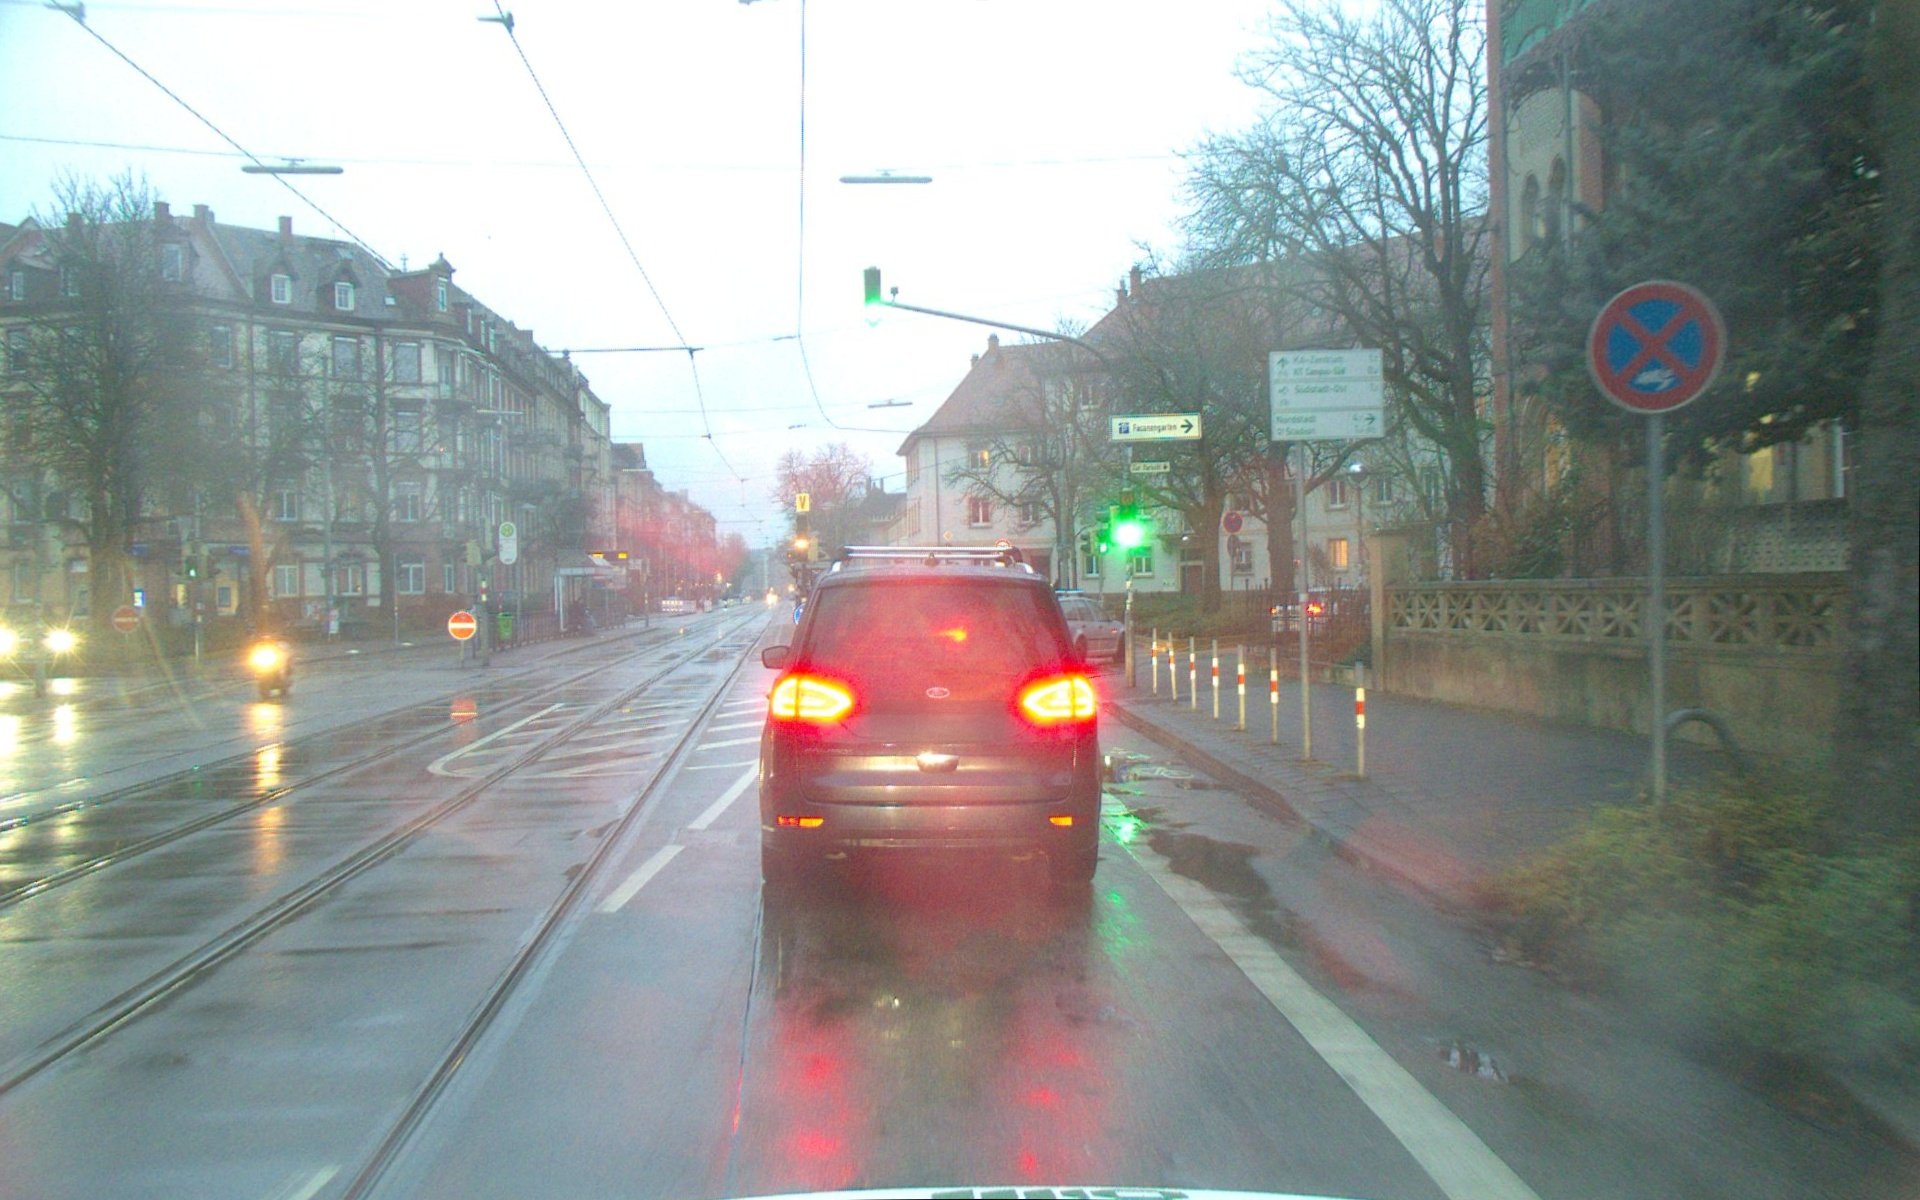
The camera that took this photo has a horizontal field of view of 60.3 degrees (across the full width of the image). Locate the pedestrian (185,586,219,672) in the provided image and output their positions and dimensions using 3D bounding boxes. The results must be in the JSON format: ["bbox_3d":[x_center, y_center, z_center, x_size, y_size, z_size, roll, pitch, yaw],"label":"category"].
[{"bbox_3d":[-18.366,0.695,40.083,0.695,2.049,0.655,-1,0,-25],"label":"pedestrian"}]

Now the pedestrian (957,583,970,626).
[{"bbox_3d":[0.174,0.212,78.450,0.584,2.049,0.631,-1,-1,-1],"label":"pedestrian"}]

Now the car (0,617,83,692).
[{"bbox_3d":[-23.404,1.293,40.410,3.921,1.702,2.014,-1,0,37],"label":"car"}]

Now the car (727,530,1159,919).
[{"bbox_3d":[-0.208,0.591,10.251,2.062,1.848,4.657,1,0,-3],"label":"car"}]

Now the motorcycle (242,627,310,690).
[{"bbox_3d":[-11.947,1.007,28.936,0.842,1.009,1.911,-1,0,-16],"label":"motorcycle"}]

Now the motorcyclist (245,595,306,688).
[{"bbox_3d":[-11.913,0.713,28.804,0.830,1.575,1.011,-1,0,-16],"label":"motorcyclist"}]

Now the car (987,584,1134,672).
[{"bbox_3d":[2.140,0.556,34.238,1.675,1.691,3.997,-1,-1,25],"label":"car"}]

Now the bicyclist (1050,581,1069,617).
[{"bbox_3d":[5.408,-0.065,89.522,0.791,1.952,0.707,-1,0,26],"label":"bicyclist"}]

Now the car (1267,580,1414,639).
[{"bbox_3d":[9.759,0.216,42.336,3.964,1.400,1.645,-1,0,-41],"label":"car"}]

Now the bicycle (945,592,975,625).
[{"bbox_3d":[-0.013,0.287,59.043,0.704,1.131,1.937,3,0,-10],"label":"bicycle"}]

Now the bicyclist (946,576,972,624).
[{"bbox_3d":[-0.033,-0.005,59.231,0.704,1.691,1.054,2,0,-10],"label":"bicyclist"}]

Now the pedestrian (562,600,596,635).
[{"bbox_3d":[-13.446,0.617,58.359,1.027,1.221,0.884,-1,-1,-5],"label":"pedestrian"}]

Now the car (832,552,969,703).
[{"bbox_3d":[-0.979,0.394,24.812,1.676,2.049,4.292,-1,0,-7],"label":"car"}]
